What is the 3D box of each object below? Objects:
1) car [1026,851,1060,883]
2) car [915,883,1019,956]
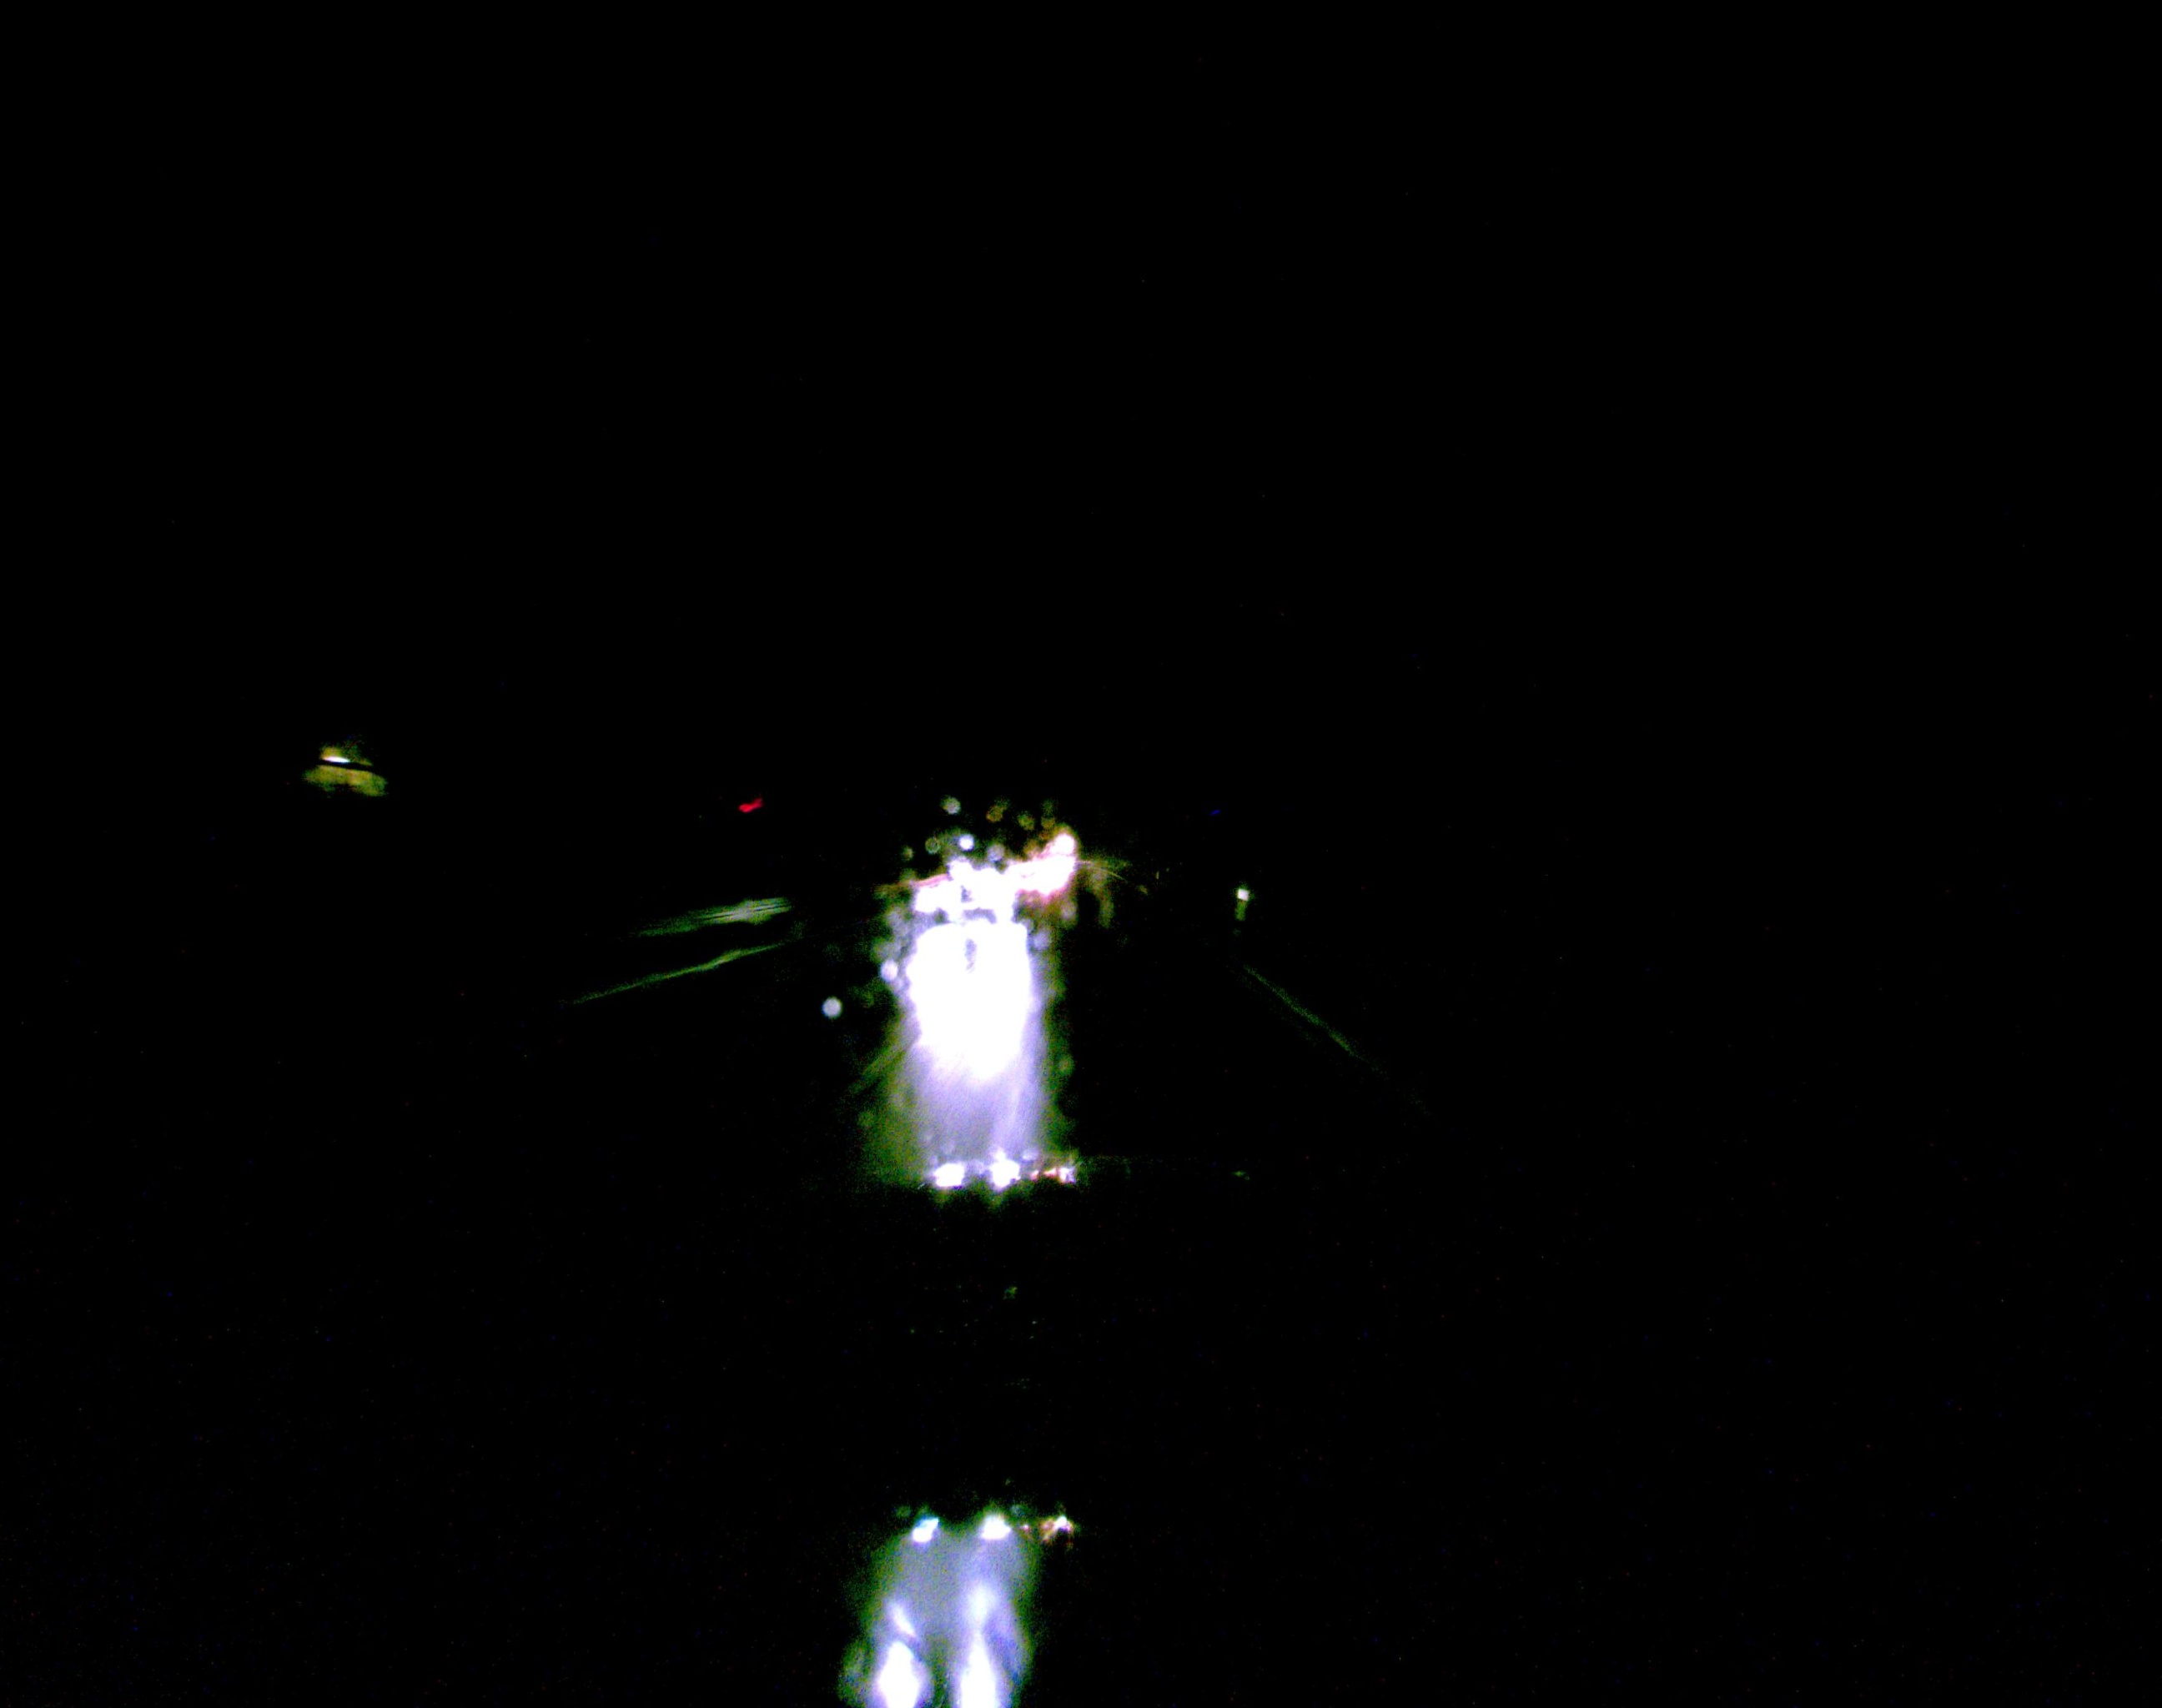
[{"bbox_3d":[-2.559,0.866,55.858,1.986,2.013,4.002,-1,1,2],"label":"car"},{"bbox_3d":[-2.814,1.603,21.040,1.986,1.500,4.002,-1,1,2],"label":"car"}]
